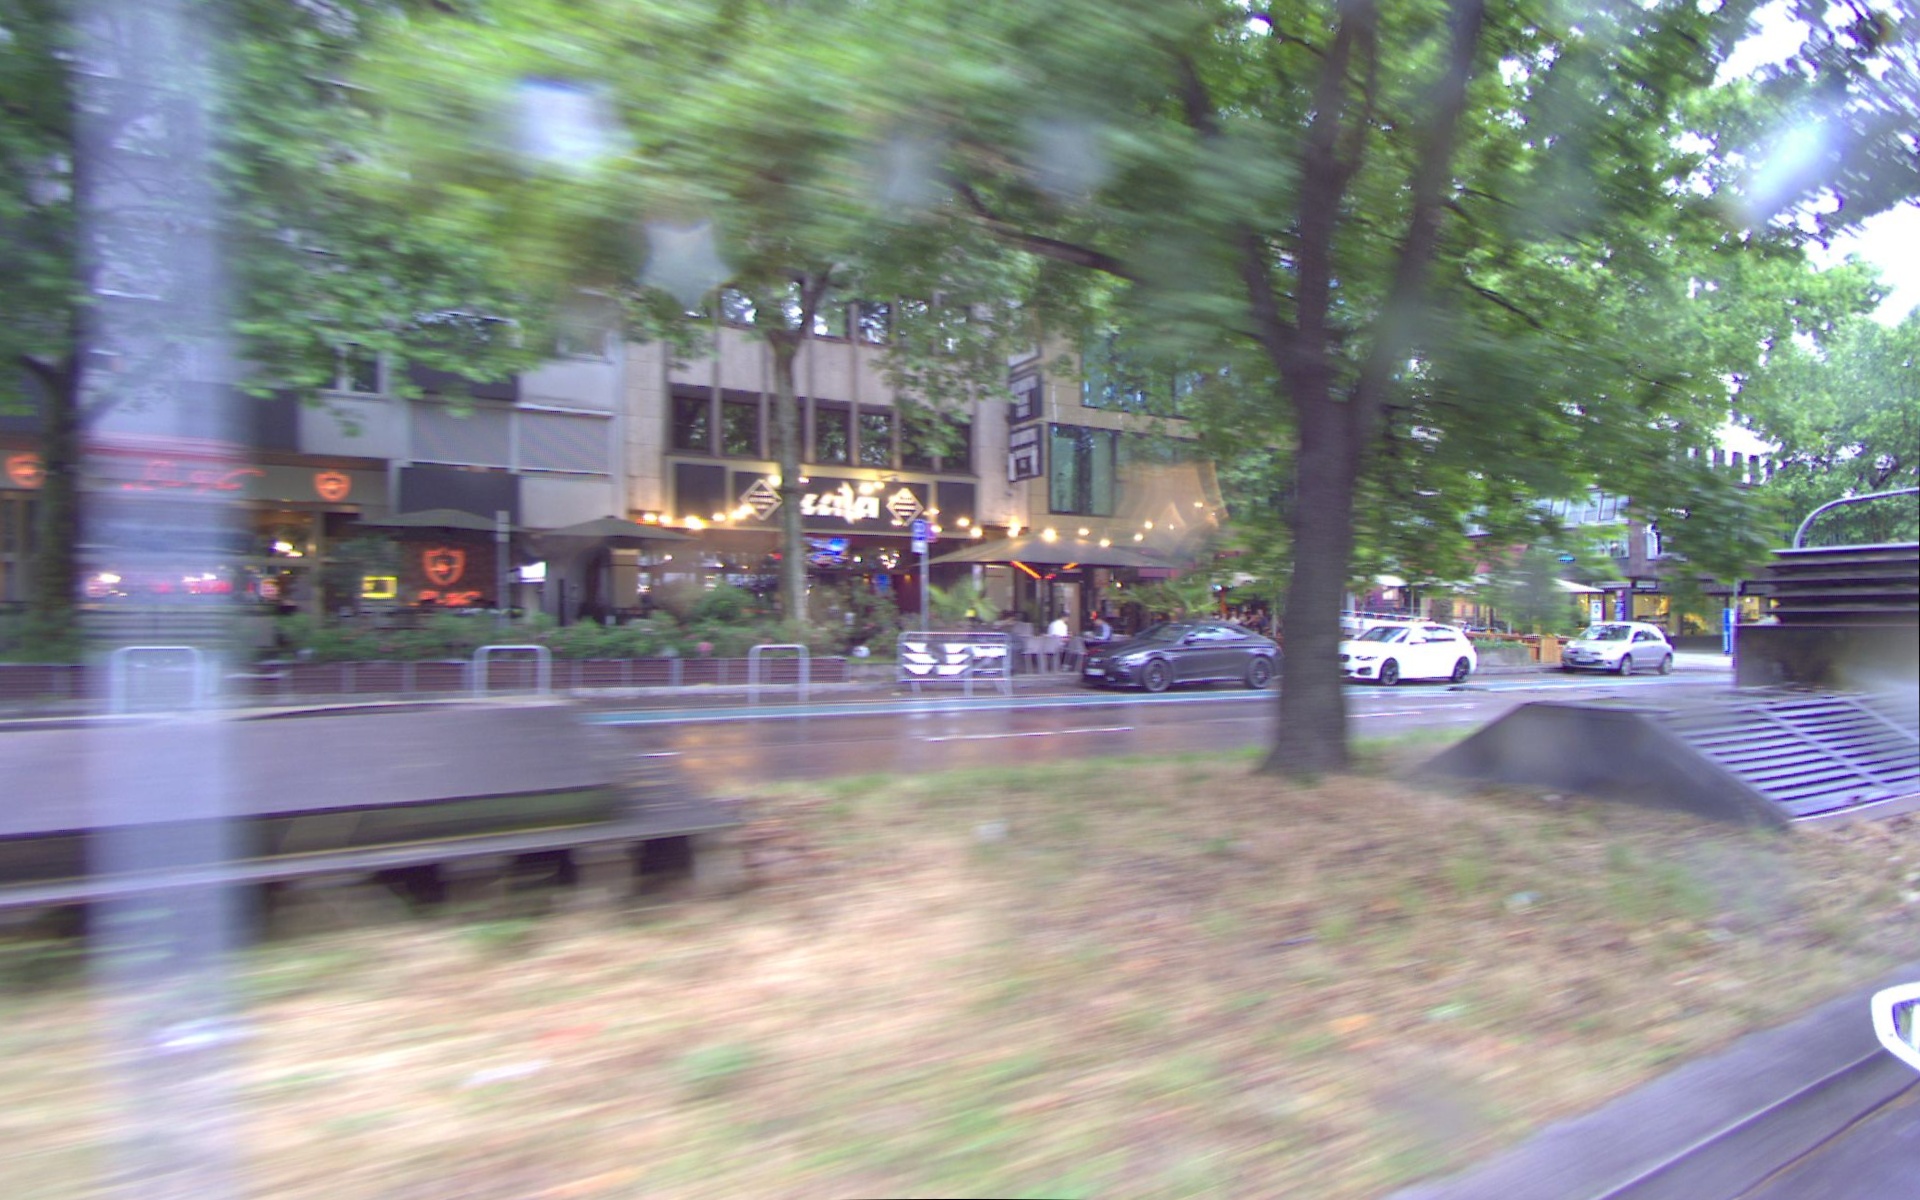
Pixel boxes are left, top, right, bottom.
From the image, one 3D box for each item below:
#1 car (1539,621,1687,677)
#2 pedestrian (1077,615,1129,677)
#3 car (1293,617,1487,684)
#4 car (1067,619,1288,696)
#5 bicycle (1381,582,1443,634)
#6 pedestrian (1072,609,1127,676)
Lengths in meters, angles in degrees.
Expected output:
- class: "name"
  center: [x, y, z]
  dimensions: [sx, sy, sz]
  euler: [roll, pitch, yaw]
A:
- class: "car"
  center: [19.245, 1.384, 29.560]
  dimensions: [4.468, 1.529, 1.983]
  euler: [1, -1, -32]
- class: "pedestrian"
  center: [3.359, 1.066, 23.628]
  dimensions: [0.923, 1.398, 0.759]
  euler: [1, 0, -33]
- class: "car"
  center: [10.356, 1.161, 24.147]
  dimensions: [4.486, 1.388, 1.984]
  euler: [1, 1, -30]
- class: "car"
  center: [4.538, 1.142, 20.794]
  dimensions: [4.430, 1.413, 1.816]
  euler: [1, -1, -30]
- class: "bicycle"
  center: [18.364, 0.332, 40.859]
  dimensions: [0.682, 2.040, 2.374]
  euler: [1, -1, -31]
- class: "pedestrian"
  center: [3.254, 0.974, 23.398]
  dimensions: [0.963, 1.508, 0.824]
  euler: [1, 0, -33]
